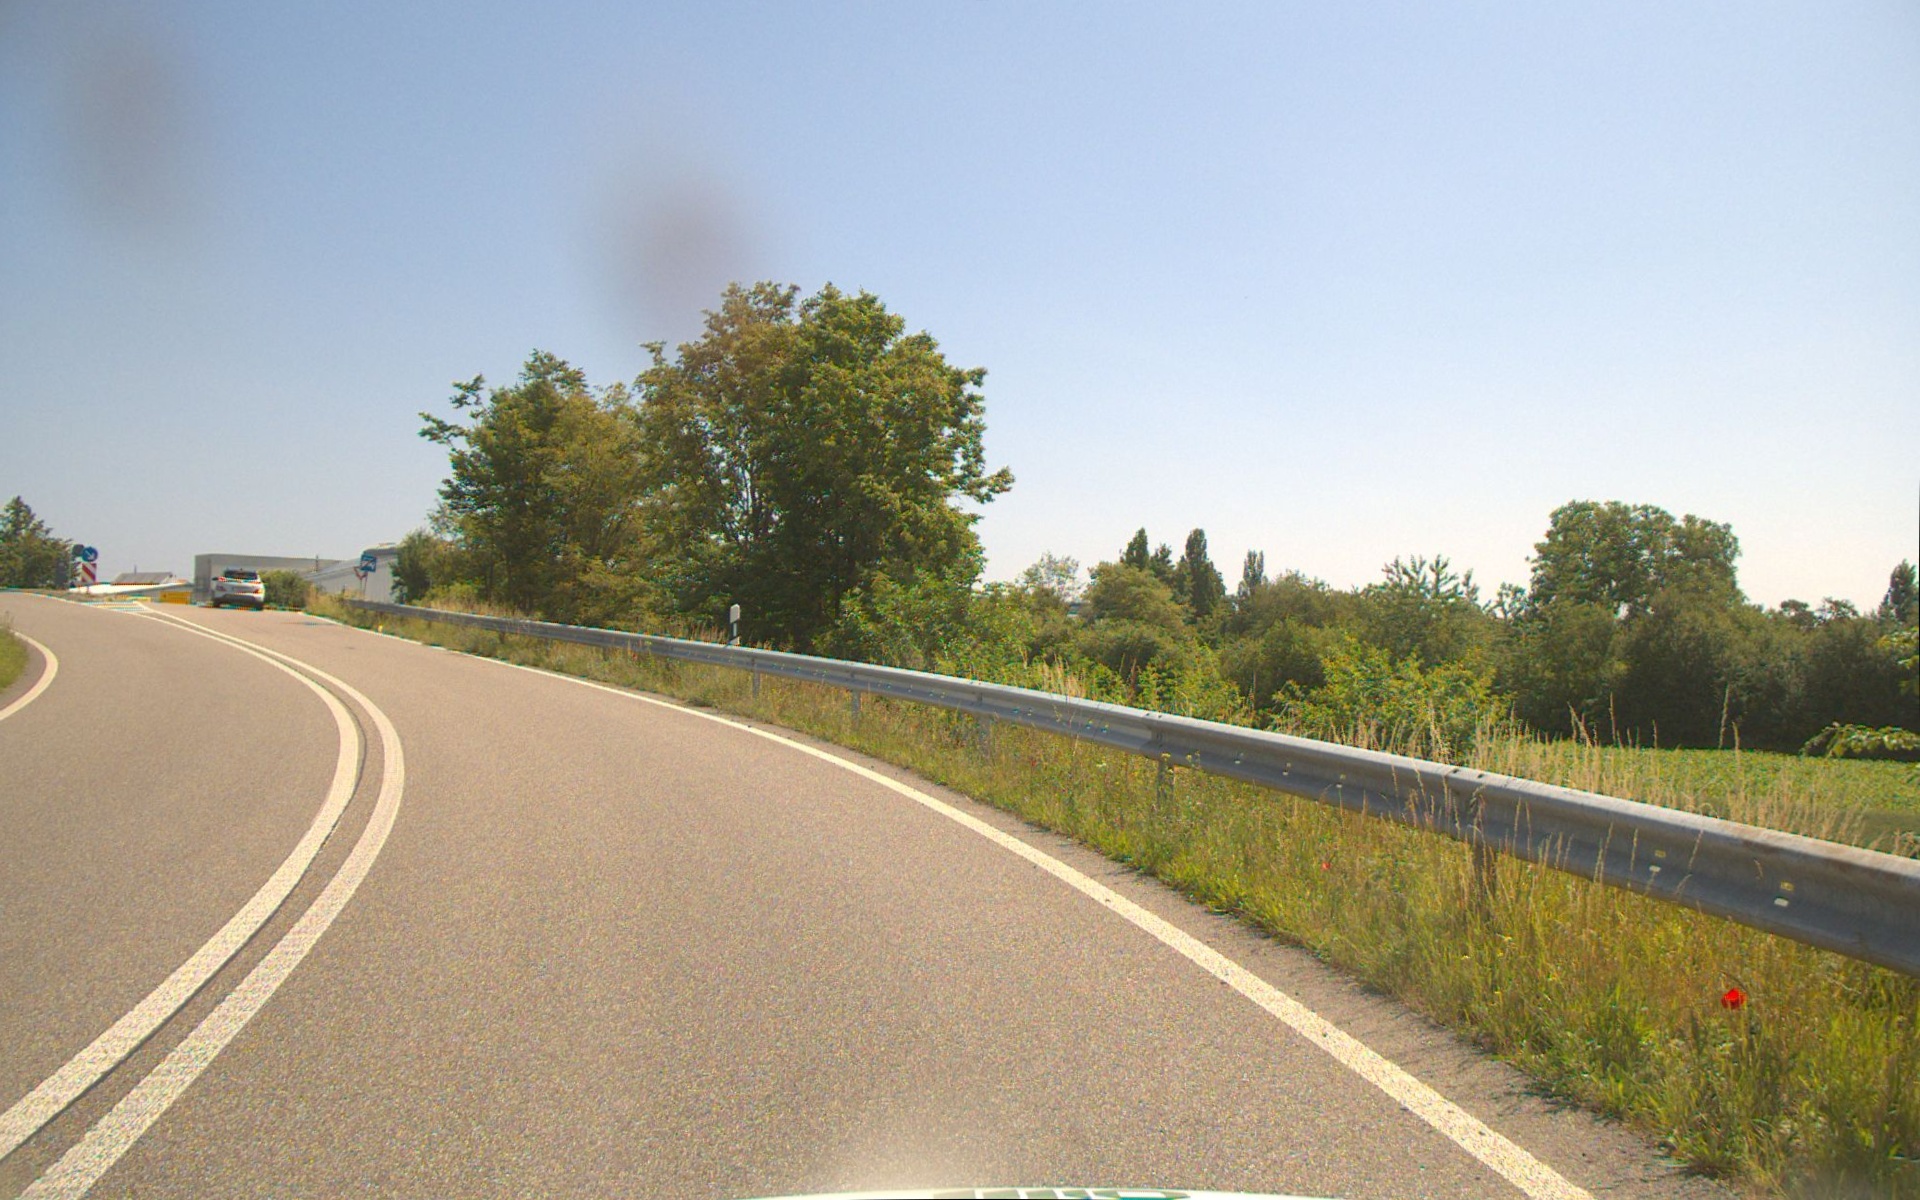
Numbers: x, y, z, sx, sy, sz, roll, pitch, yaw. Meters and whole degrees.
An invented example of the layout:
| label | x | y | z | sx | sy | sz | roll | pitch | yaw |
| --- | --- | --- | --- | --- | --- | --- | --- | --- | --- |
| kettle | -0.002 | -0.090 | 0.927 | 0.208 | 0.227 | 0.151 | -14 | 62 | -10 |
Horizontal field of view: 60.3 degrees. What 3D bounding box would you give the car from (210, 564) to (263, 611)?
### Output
| label | x | y | z | sx | sy | sz | roll | pitch | yaw |
| --- | --- | --- | --- | --- | --- | --- | --- | --- | --- |
| car | -28.395 | -0.472 | 65.005 | 1.784 | 1.721 | 3.972 | 1 | -2 | -23 |
